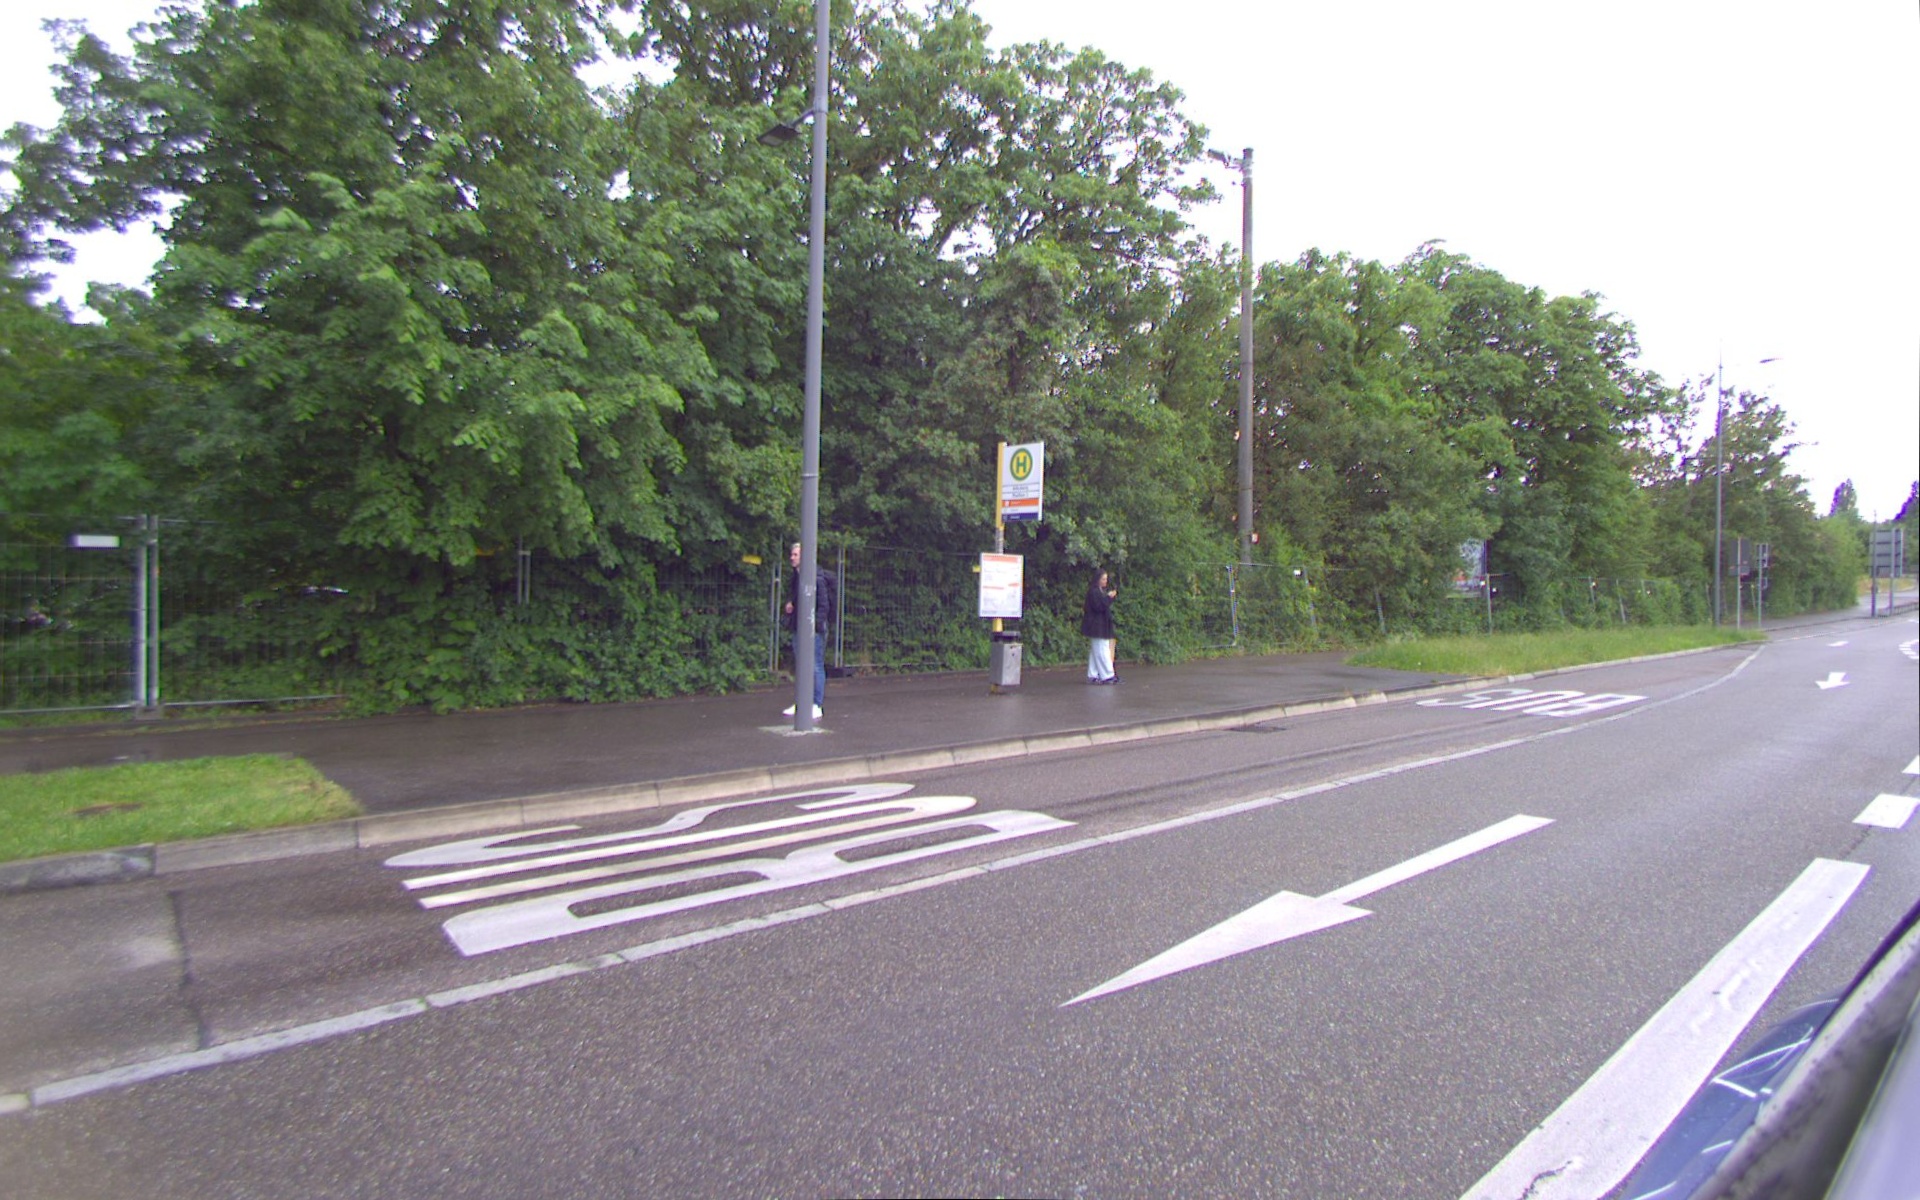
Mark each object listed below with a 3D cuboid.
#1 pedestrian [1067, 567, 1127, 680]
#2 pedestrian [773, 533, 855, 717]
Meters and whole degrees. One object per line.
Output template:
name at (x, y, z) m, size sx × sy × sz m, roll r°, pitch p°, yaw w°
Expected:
pedestrian at (2.060, 0.329, 15.201) m, size 0.650 × 1.648 × 0.588 m, roll 0°, pitch 1°, yaw -40°
pedestrian at (-1.638, 0.259, 11.310) m, size 0.587 × 1.973 × 0.742 m, roll 0°, pitch 1°, yaw -40°
